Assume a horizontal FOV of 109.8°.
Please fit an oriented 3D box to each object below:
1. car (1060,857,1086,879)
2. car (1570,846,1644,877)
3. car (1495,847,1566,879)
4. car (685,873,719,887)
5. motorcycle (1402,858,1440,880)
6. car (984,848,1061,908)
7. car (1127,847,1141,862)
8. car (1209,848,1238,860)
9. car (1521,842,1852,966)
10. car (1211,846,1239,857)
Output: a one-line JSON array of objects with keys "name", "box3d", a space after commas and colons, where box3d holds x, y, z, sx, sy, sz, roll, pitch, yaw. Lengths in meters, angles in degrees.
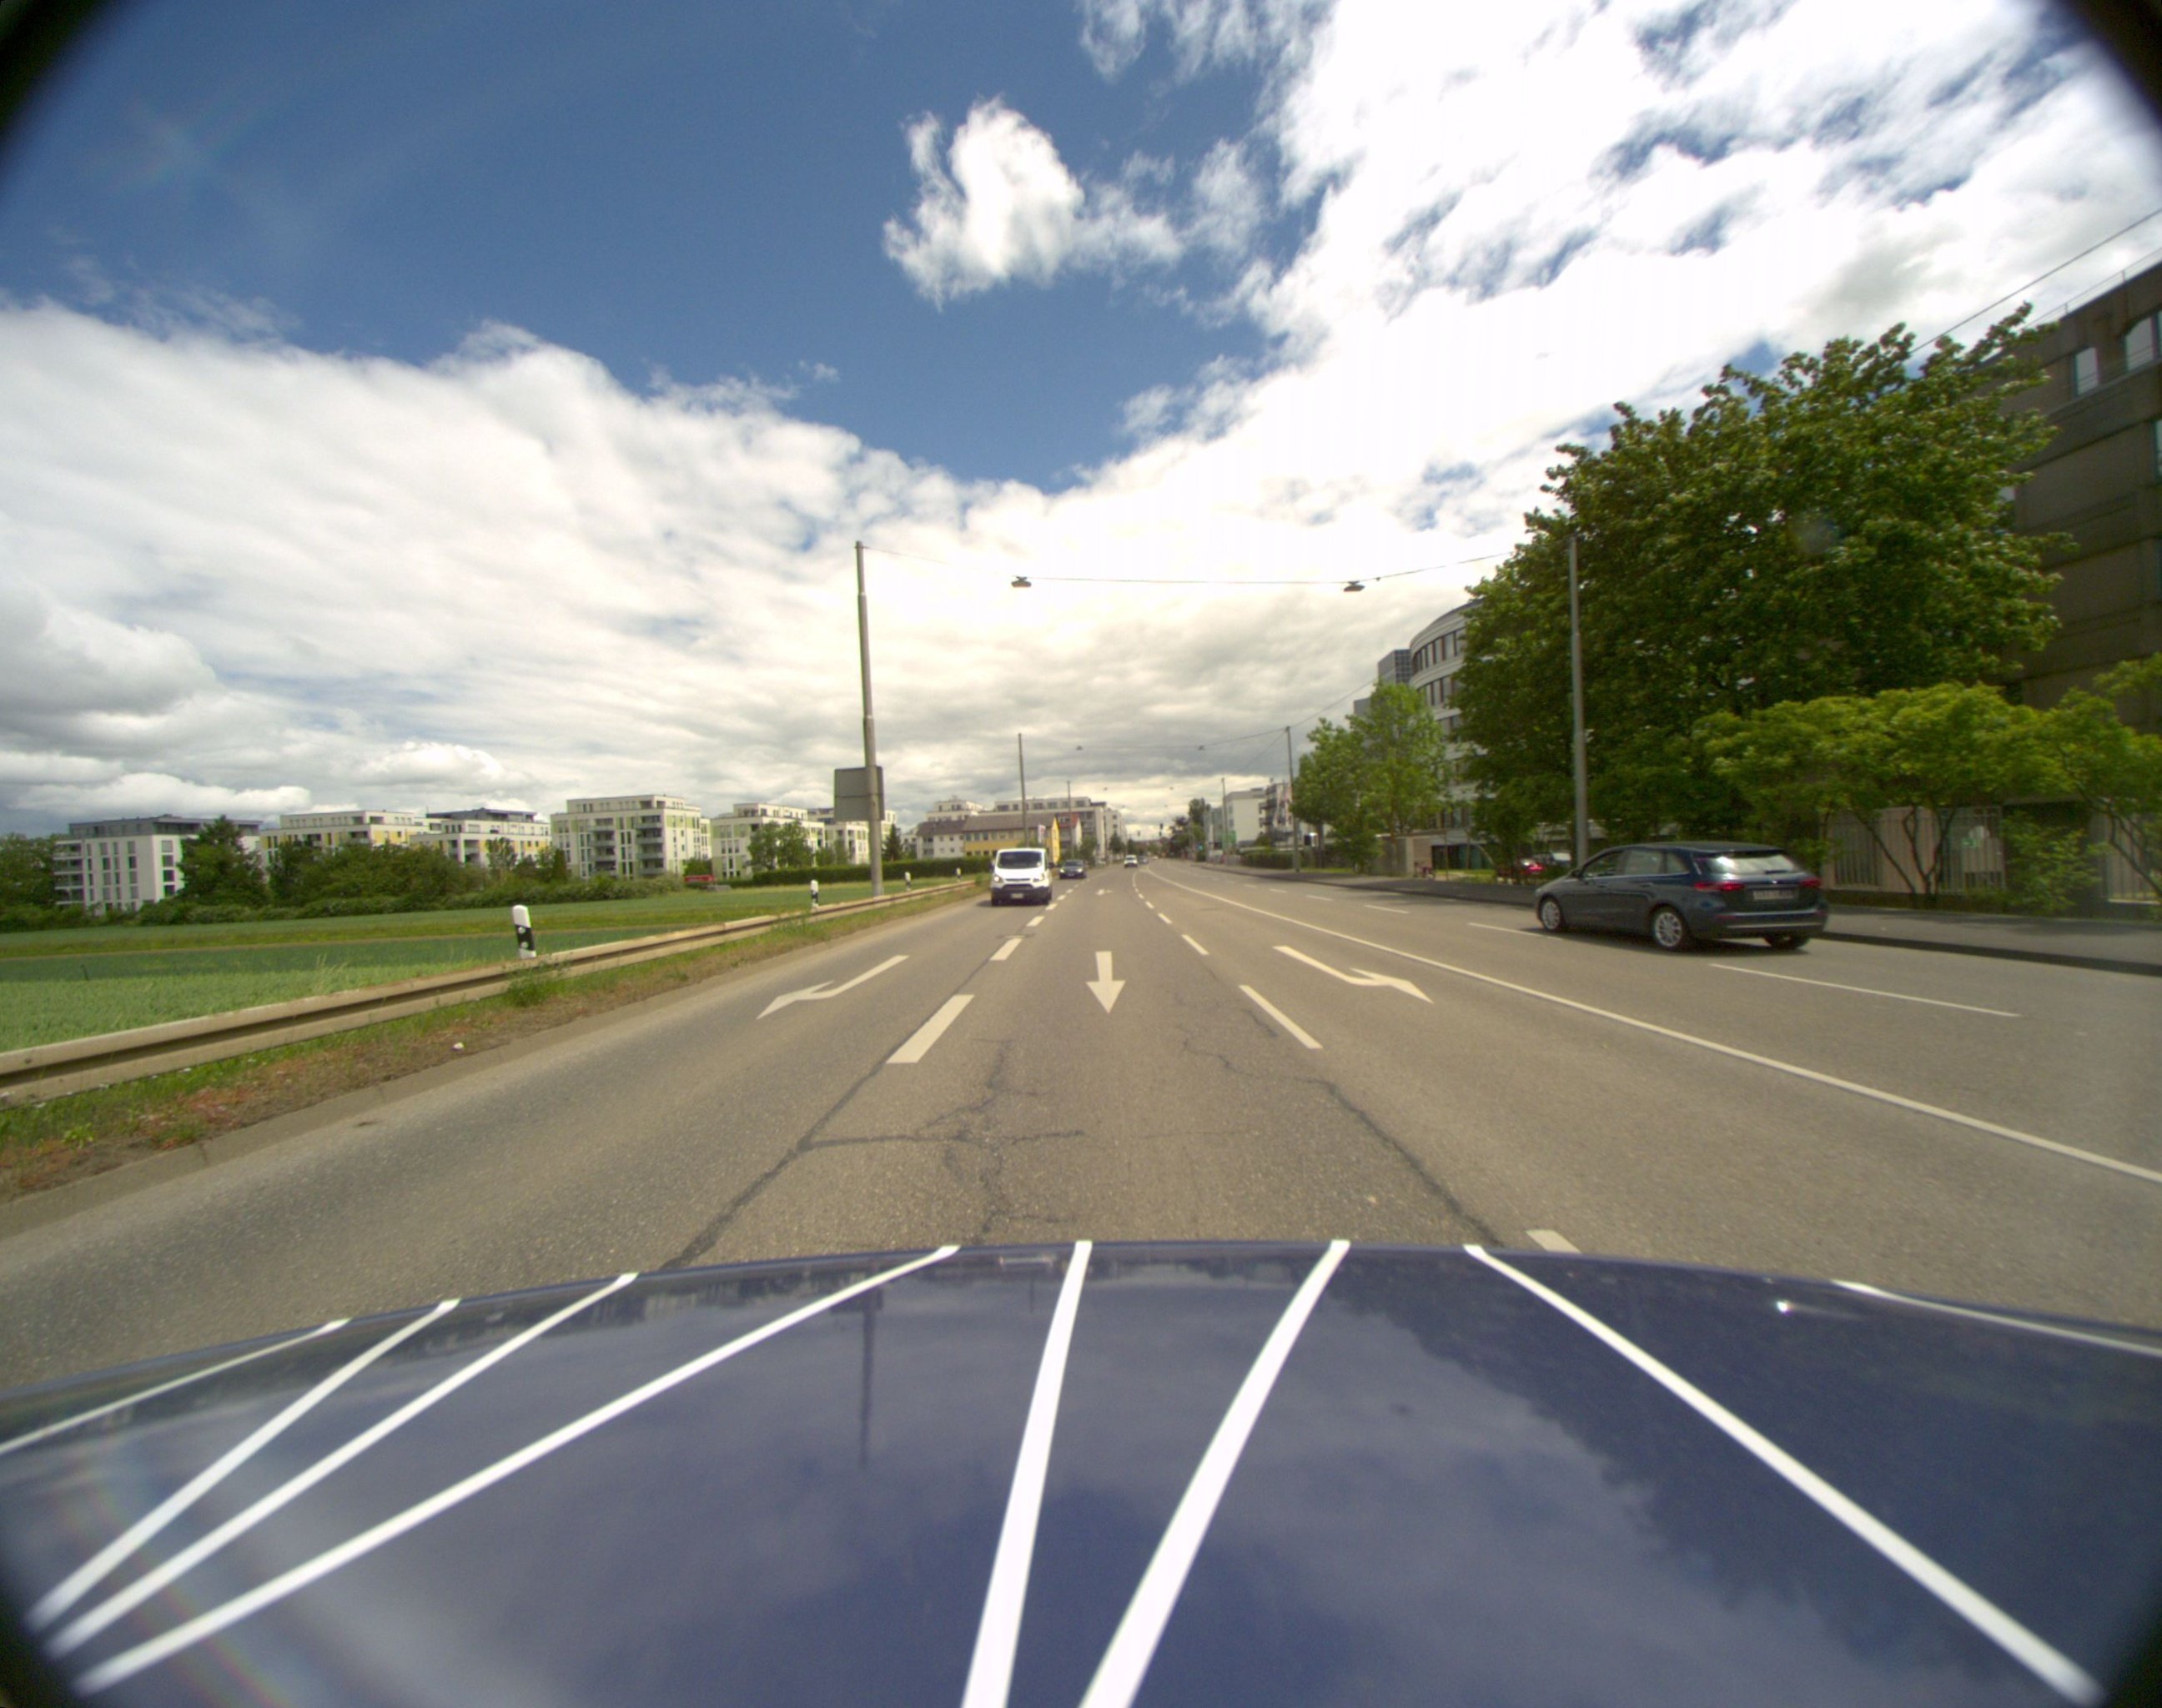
[{"name": "car", "box3d": [-0.568, 1.058, 58.330, 1.879, 1.478, 3.775, -3, 0, 1]}, {"name": "car", "box3d": [32.252, 0.437, 46.707, 1.824, 1.713, 4.000, -2, 1, 2]}, {"name": "car", "box3d": [27.893, 0.519, 47.339, 1.868, 1.784, 3.997, 0, 2, -3]}, {"name": "car", "box3d": [-62.119, 4.241, 124.520, 4.437, 2.002, 2.000, -2, 1, 0]}, {"name": "motorcycle", "box3d": [20.352, 0.879, 45.469, 1.905, 1.237, 0.746, -2, 1, 0]}, {"name": "car", "box3d": [-1.993, 0.790, 27.921, 1.998, 1.907, 5.883, -2, 0, 3]}, {"name": "car", "box3d": [7.646, 0.024, 110.495, 1.800, 2.002, 4.000, -2, 1, 1]}, {"name": "car", "box3d": [20.809, 0.016, 110.925, 3.801, 1.601, 1.836, -2, 0, 1]}, {"name": "car", "box3d": [9.113, 0.638, 12.027, 1.801, 1.576, 4.313, -1, 0, 0]}, {"name": "car", "box3d": [22.453, -0.380, 118.455, 3.996, 1.324, 1.824, -5, -1, 3]}]
